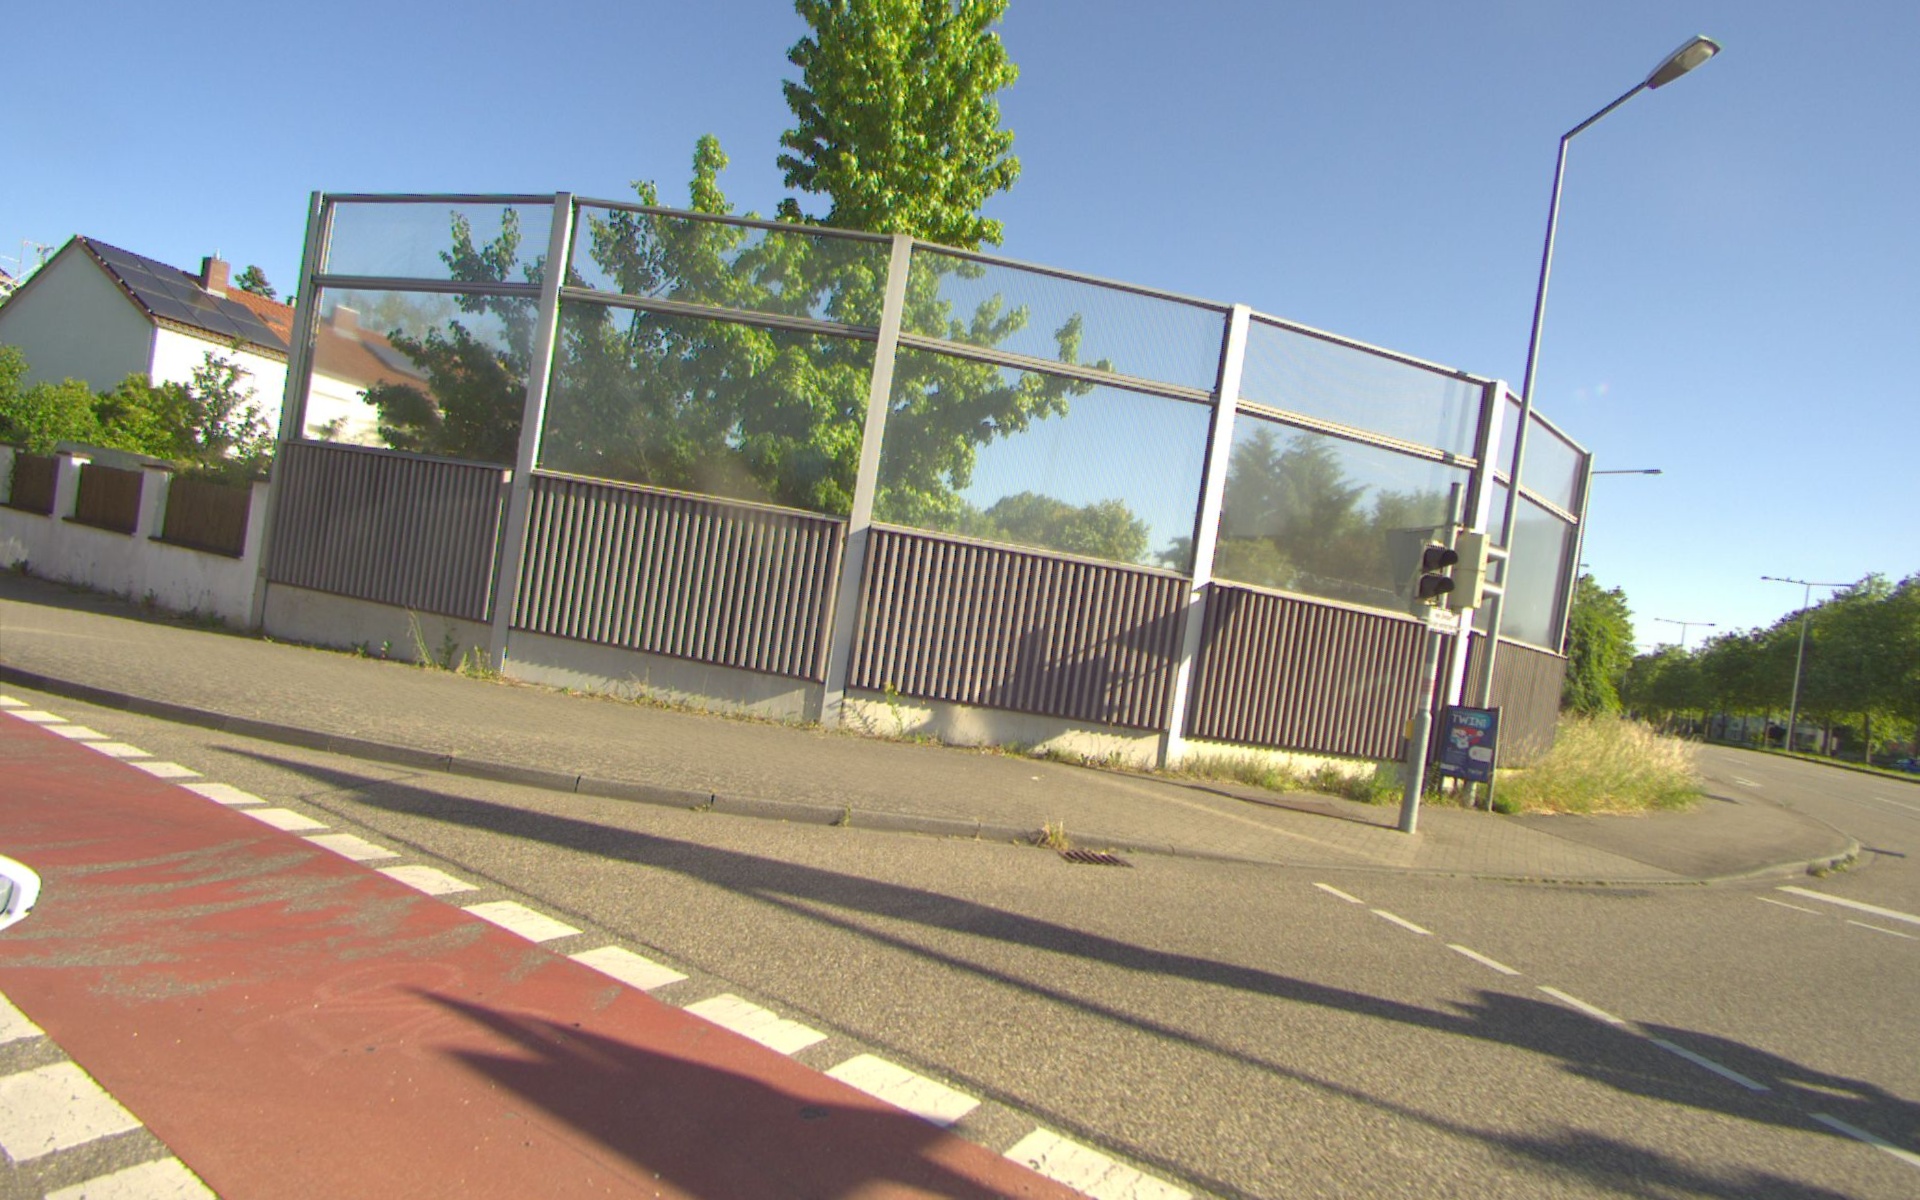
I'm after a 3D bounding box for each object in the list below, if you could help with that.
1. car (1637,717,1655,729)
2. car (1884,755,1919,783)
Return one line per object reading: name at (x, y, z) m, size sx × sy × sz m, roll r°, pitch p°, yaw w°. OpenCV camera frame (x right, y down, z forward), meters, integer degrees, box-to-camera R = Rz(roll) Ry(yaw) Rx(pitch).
car at (114.265, 20.485, 167.574) m, size 1.827 × 1.610 × 3.996 m, roll 9°, pitch 0°, yaw 28°
car at (62.558, 11.175, 65.966) m, size 1.706 × 1.458 × 3.791 m, roll 10°, pitch 0°, yaw 26°
